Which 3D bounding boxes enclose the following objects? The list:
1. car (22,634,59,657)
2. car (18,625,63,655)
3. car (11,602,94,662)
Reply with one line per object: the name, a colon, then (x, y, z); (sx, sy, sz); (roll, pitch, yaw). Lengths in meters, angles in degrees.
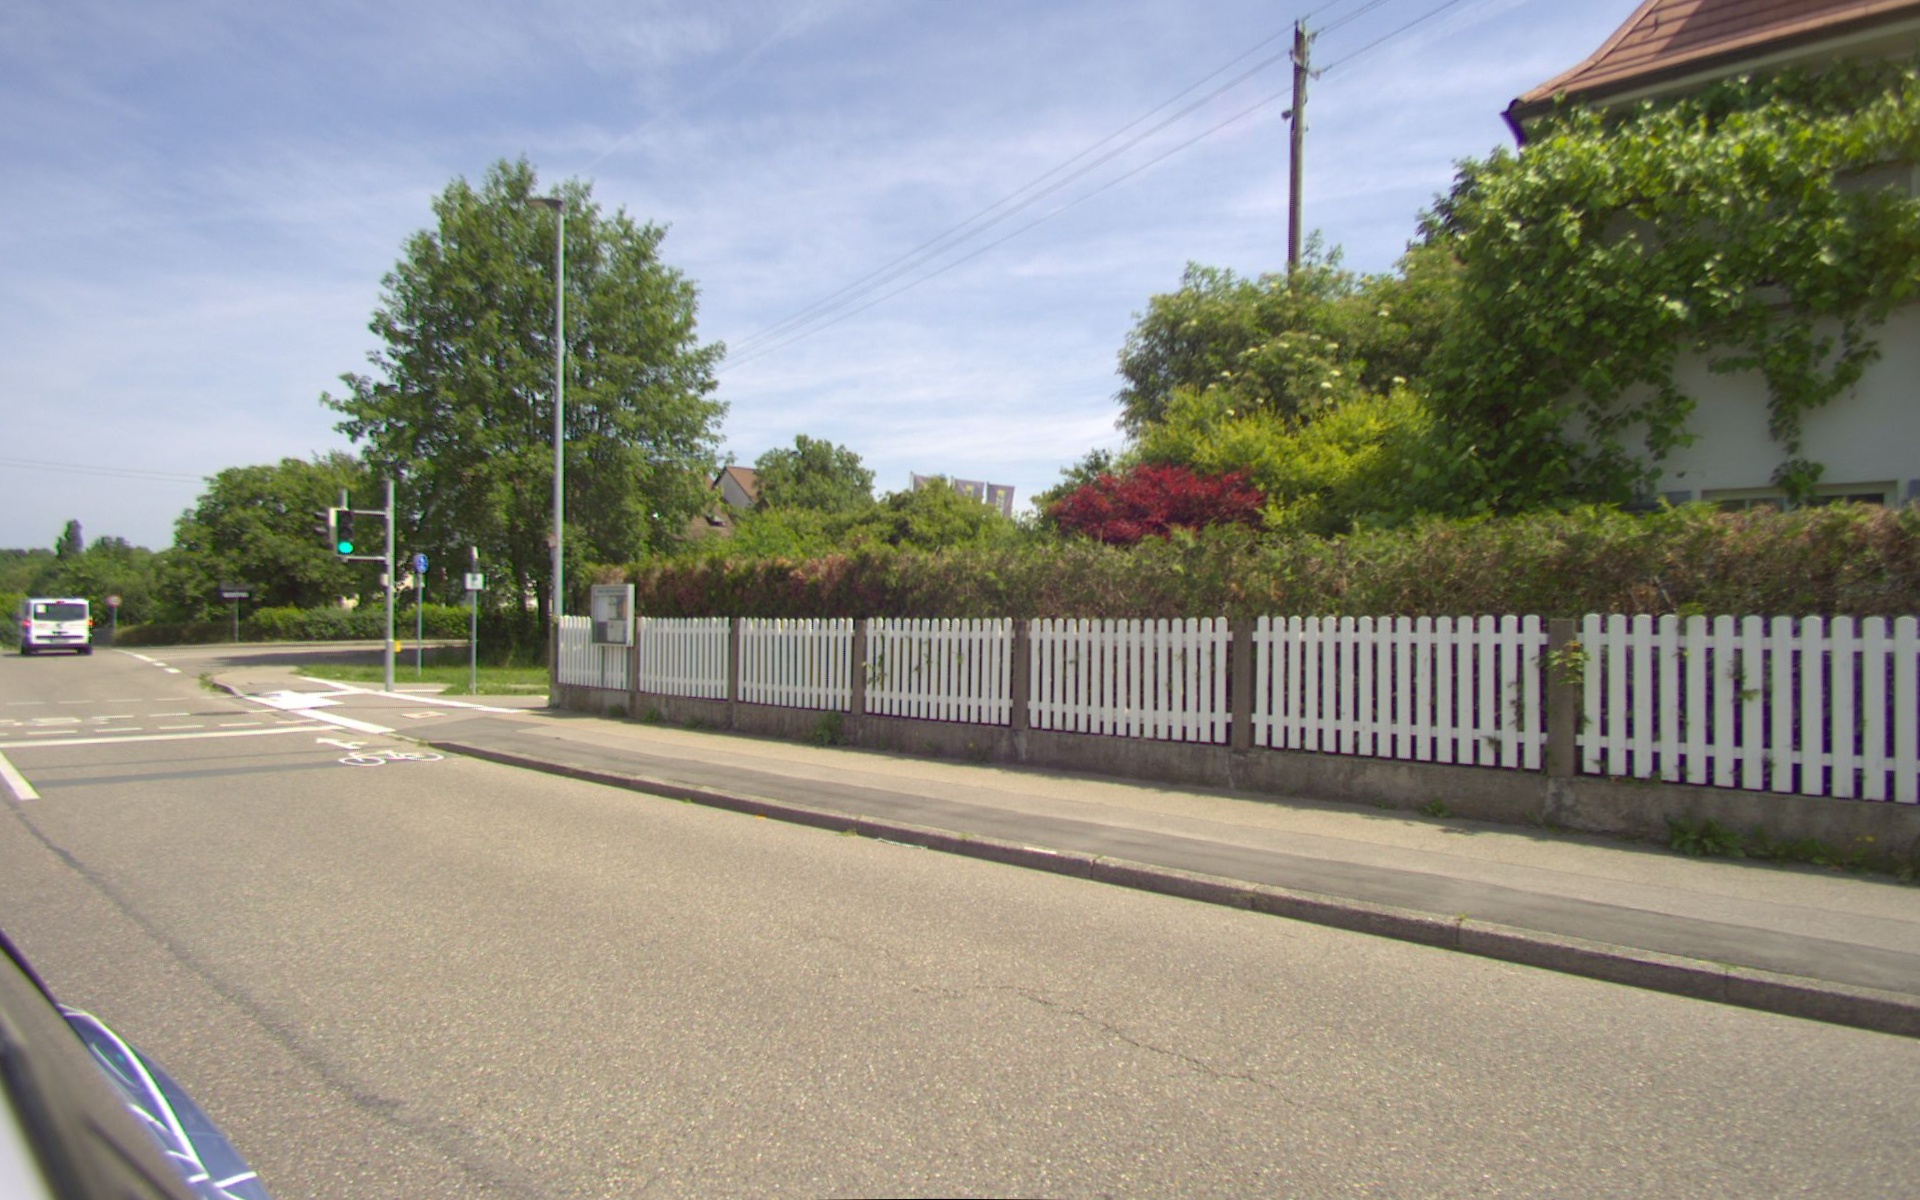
car: (-68.432, 3.383, 75.291); (4.244, 1.561, 1.790); (-4, -4, 44)
car: (-63.162, 2.792, 69.501); (4.871, 1.935, 1.875); (-4, -5, 44)
car: (-32.621, 1.096, 36.336); (4.905, 1.980, 1.858); (0, -1, 44)
